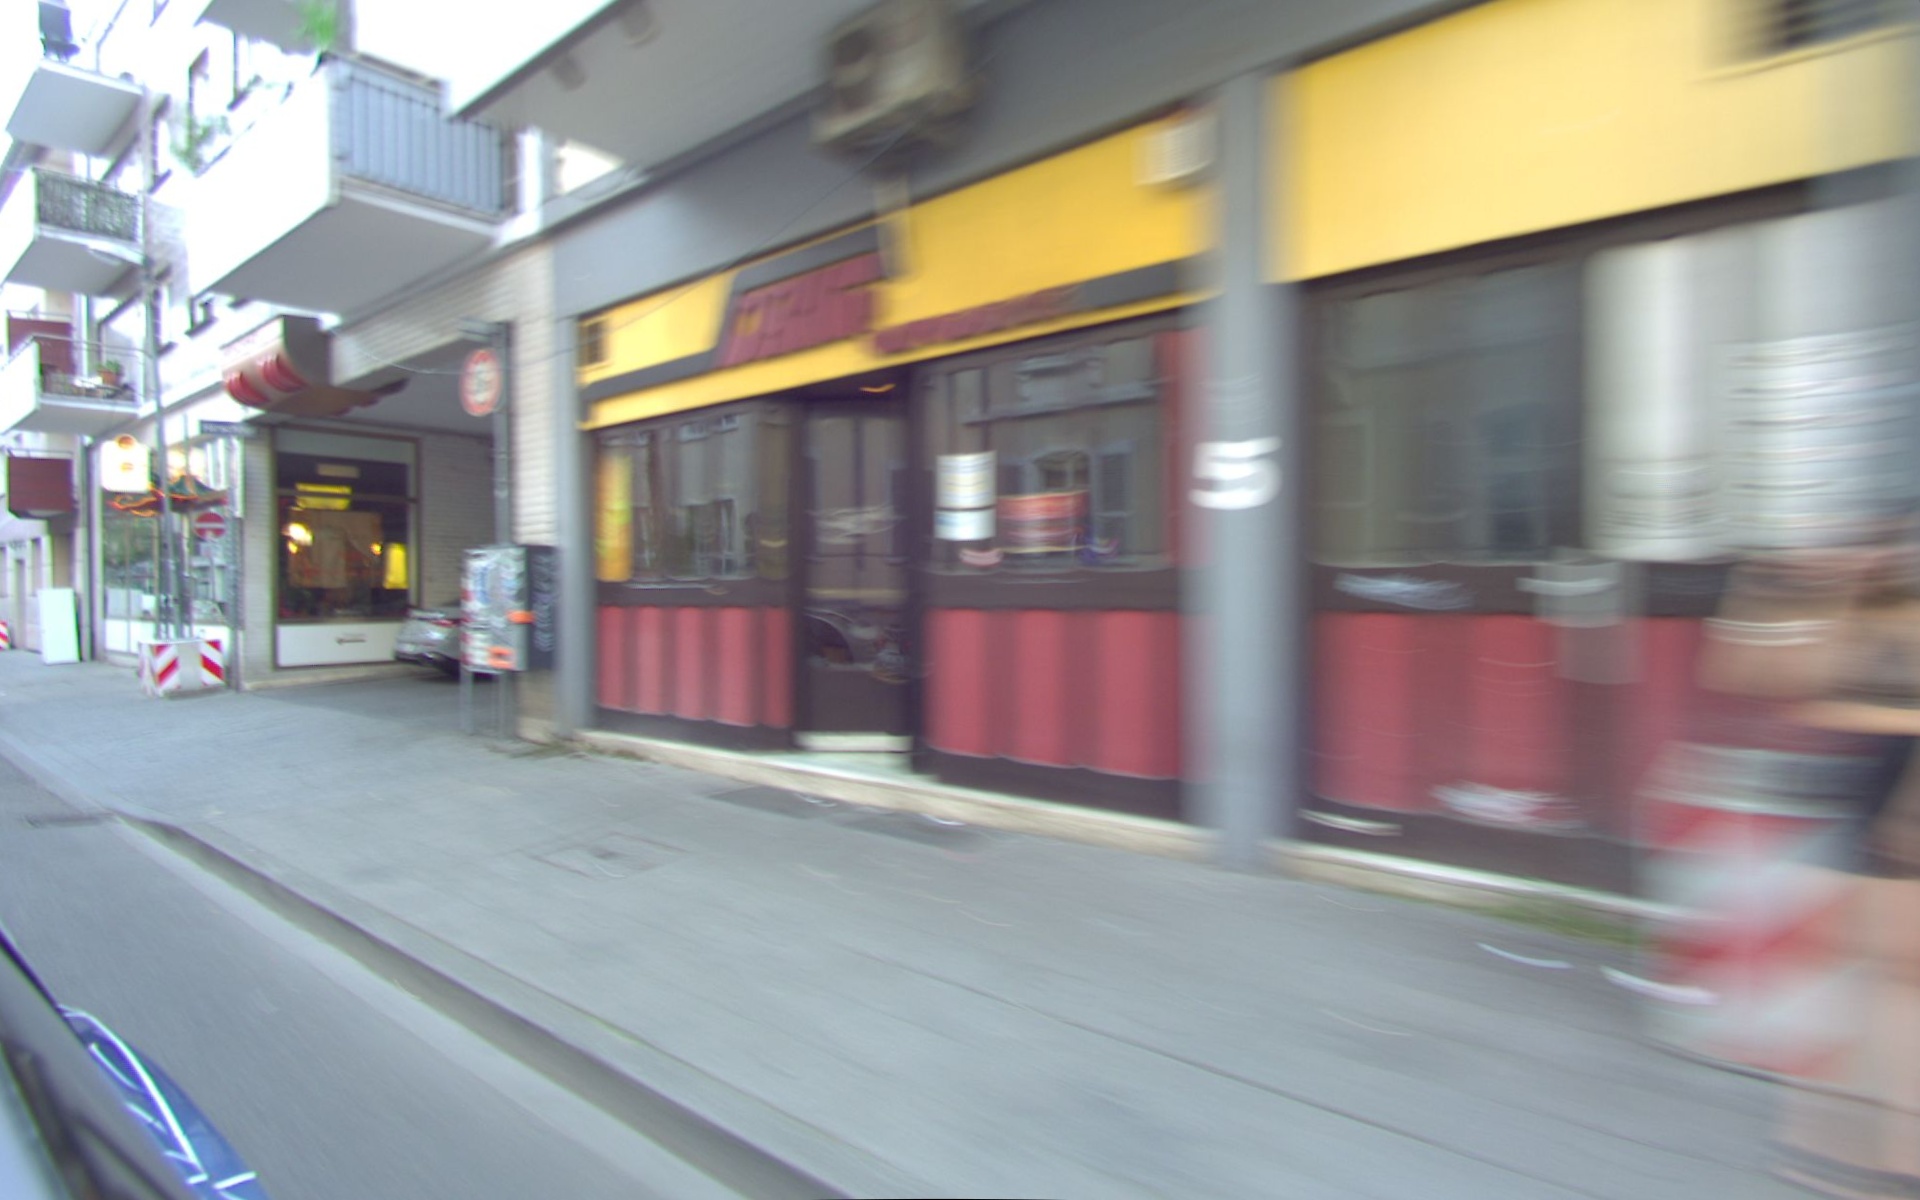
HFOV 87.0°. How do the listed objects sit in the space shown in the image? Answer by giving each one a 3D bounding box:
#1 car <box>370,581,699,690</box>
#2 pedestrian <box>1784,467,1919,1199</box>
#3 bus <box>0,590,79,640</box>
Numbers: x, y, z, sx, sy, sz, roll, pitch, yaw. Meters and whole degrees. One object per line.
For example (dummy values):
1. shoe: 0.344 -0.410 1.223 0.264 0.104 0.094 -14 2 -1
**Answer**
1. car: -6.600 0.457 16.108 2.067 1.474 4.388 -1 1 39
2. pedestrian: 2.345 0.501 2.363 0.612 1.590 0.702 0 2 37
3. bus: -67.877 0.978 68.063 3.911 3.350 12.403 1 0 30
